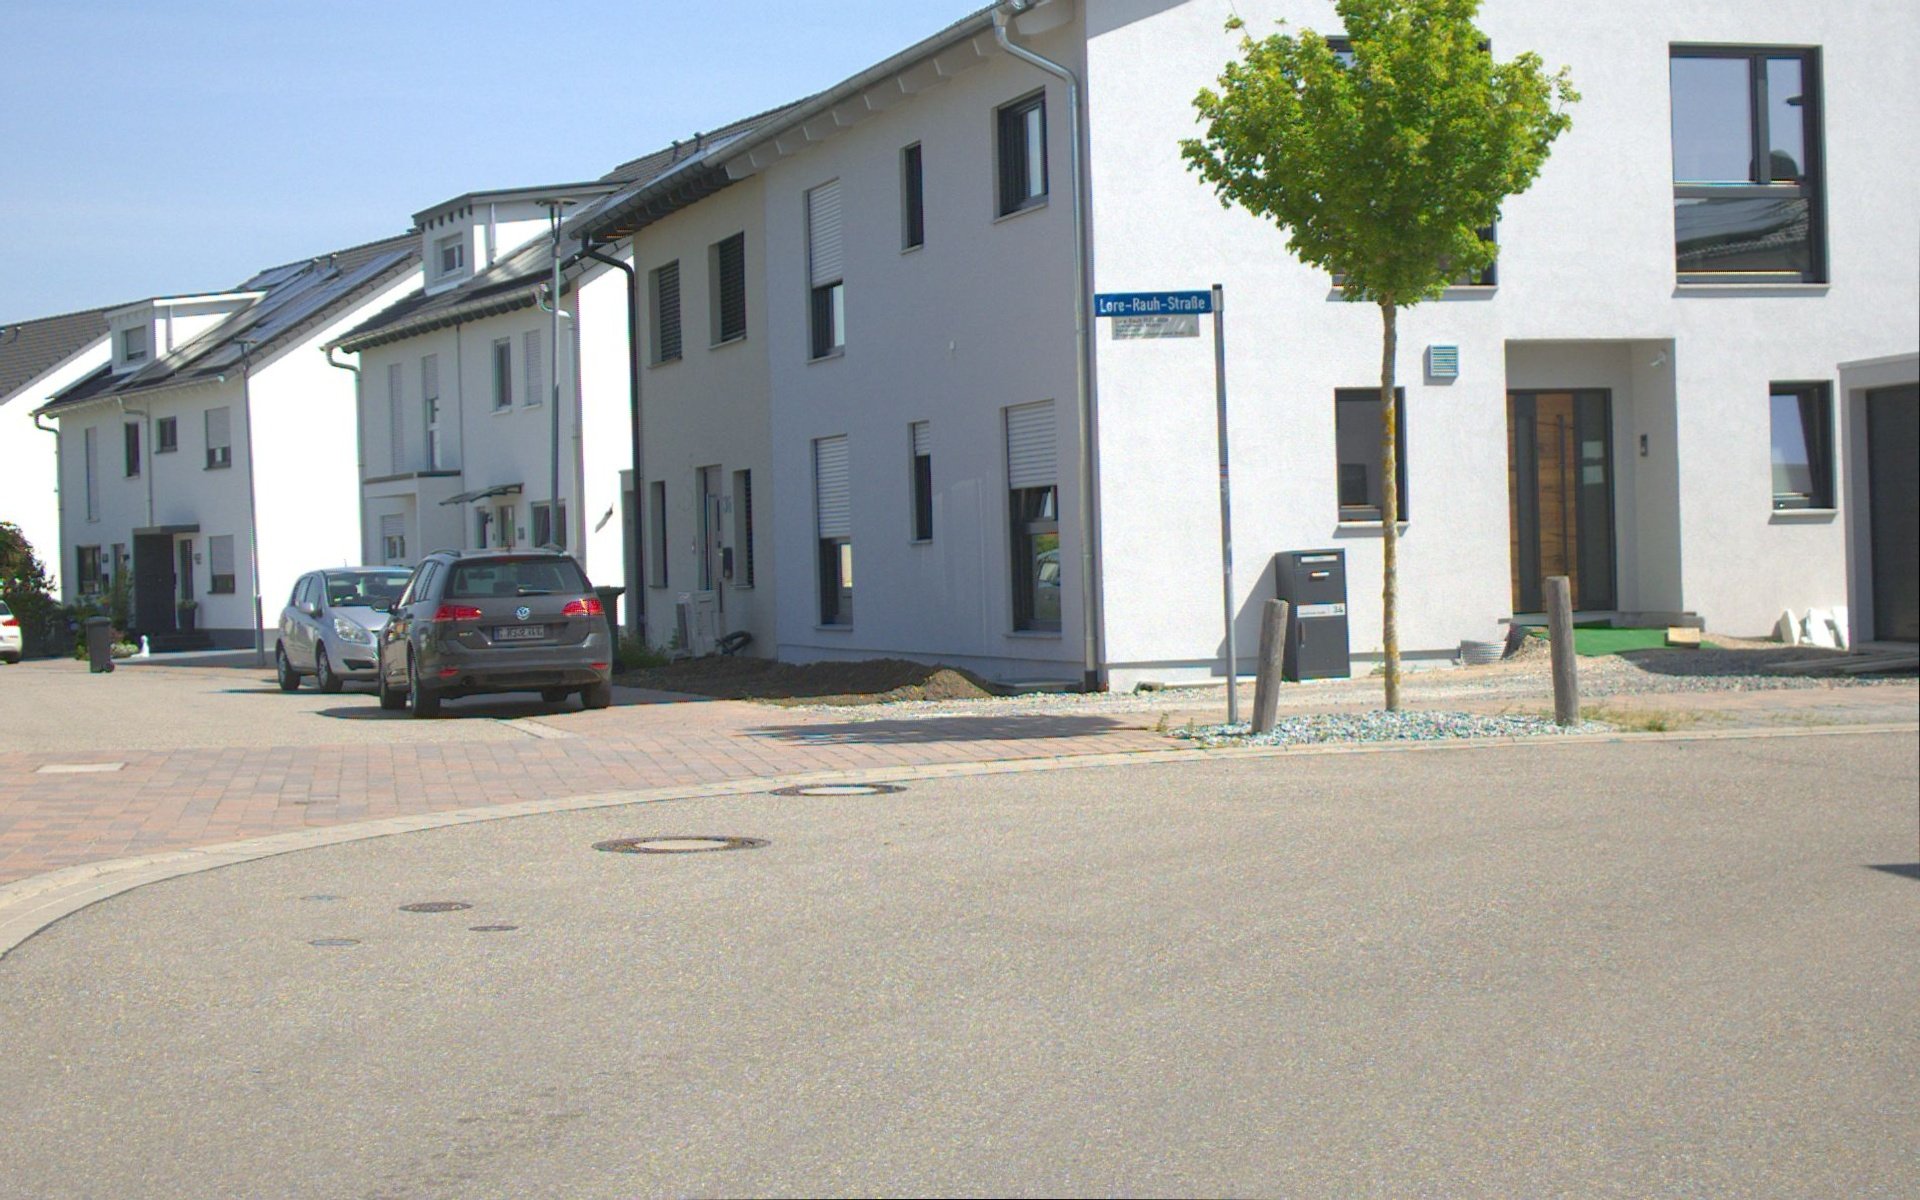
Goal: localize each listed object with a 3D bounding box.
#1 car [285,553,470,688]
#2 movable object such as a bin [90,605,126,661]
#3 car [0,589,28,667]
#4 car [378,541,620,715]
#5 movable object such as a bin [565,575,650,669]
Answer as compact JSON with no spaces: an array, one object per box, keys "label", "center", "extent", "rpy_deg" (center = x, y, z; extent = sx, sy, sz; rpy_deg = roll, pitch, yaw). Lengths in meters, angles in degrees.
[{"label":"car","center":[-6.944,0.219,40.708],"extent":[1.676,1.459,3.946],"rpy_deg":[-2,1,-16]},{"label":"movable object such as a bin","center":[-14.787,0.572,59.656],"extent":[0.557,0.945,0.247],"rpy_deg":[-2,1,-20]},{"label":"car","center":[-21.249,0.611,73.004],"extent":[1.780,1.590,4.000],"rpy_deg":[-2,1,-30]},{"label":"car","center":[-4.247,0.217,31.213],"extent":[1.726,1.418,4.001],"rpy_deg":[-2,1,-14]},{"label":"movable object such as a bin","center":[-4.166,0.259,40.588],"extent":[0.784,1.046,0.804],"rpy_deg":[-4,2,-18]}]
